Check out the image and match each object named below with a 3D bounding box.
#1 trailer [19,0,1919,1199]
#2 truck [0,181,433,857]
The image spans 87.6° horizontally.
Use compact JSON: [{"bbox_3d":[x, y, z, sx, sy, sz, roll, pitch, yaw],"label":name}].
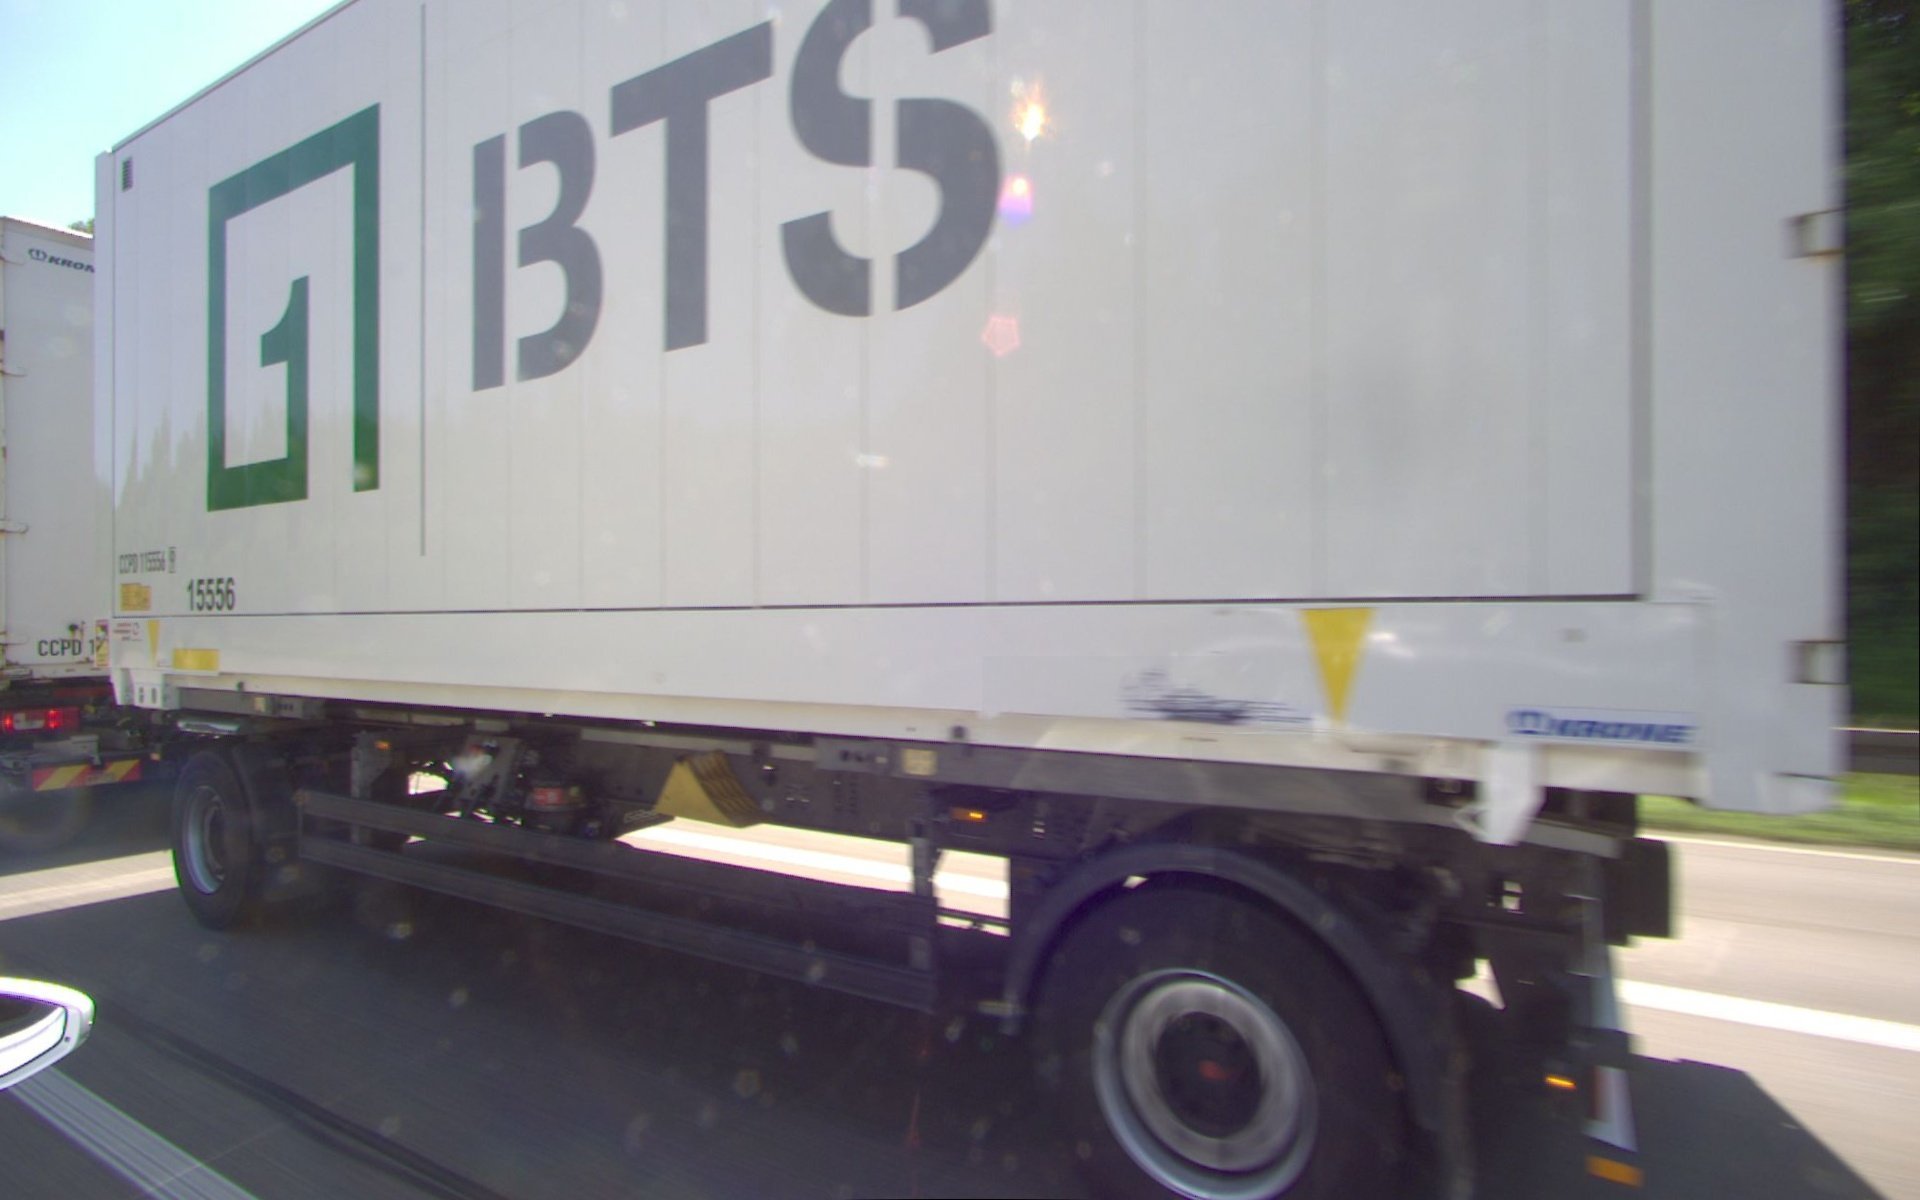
[{"bbox_3d":[-0.733,-0.566,4.520,9.920,4.230,2.675,0,-1,32],"label":"trailer"},{"bbox_3d":[-9.548,-0.430,10.019,10.472,4.112,2.675,0,-1,32],"label":"truck"}]
